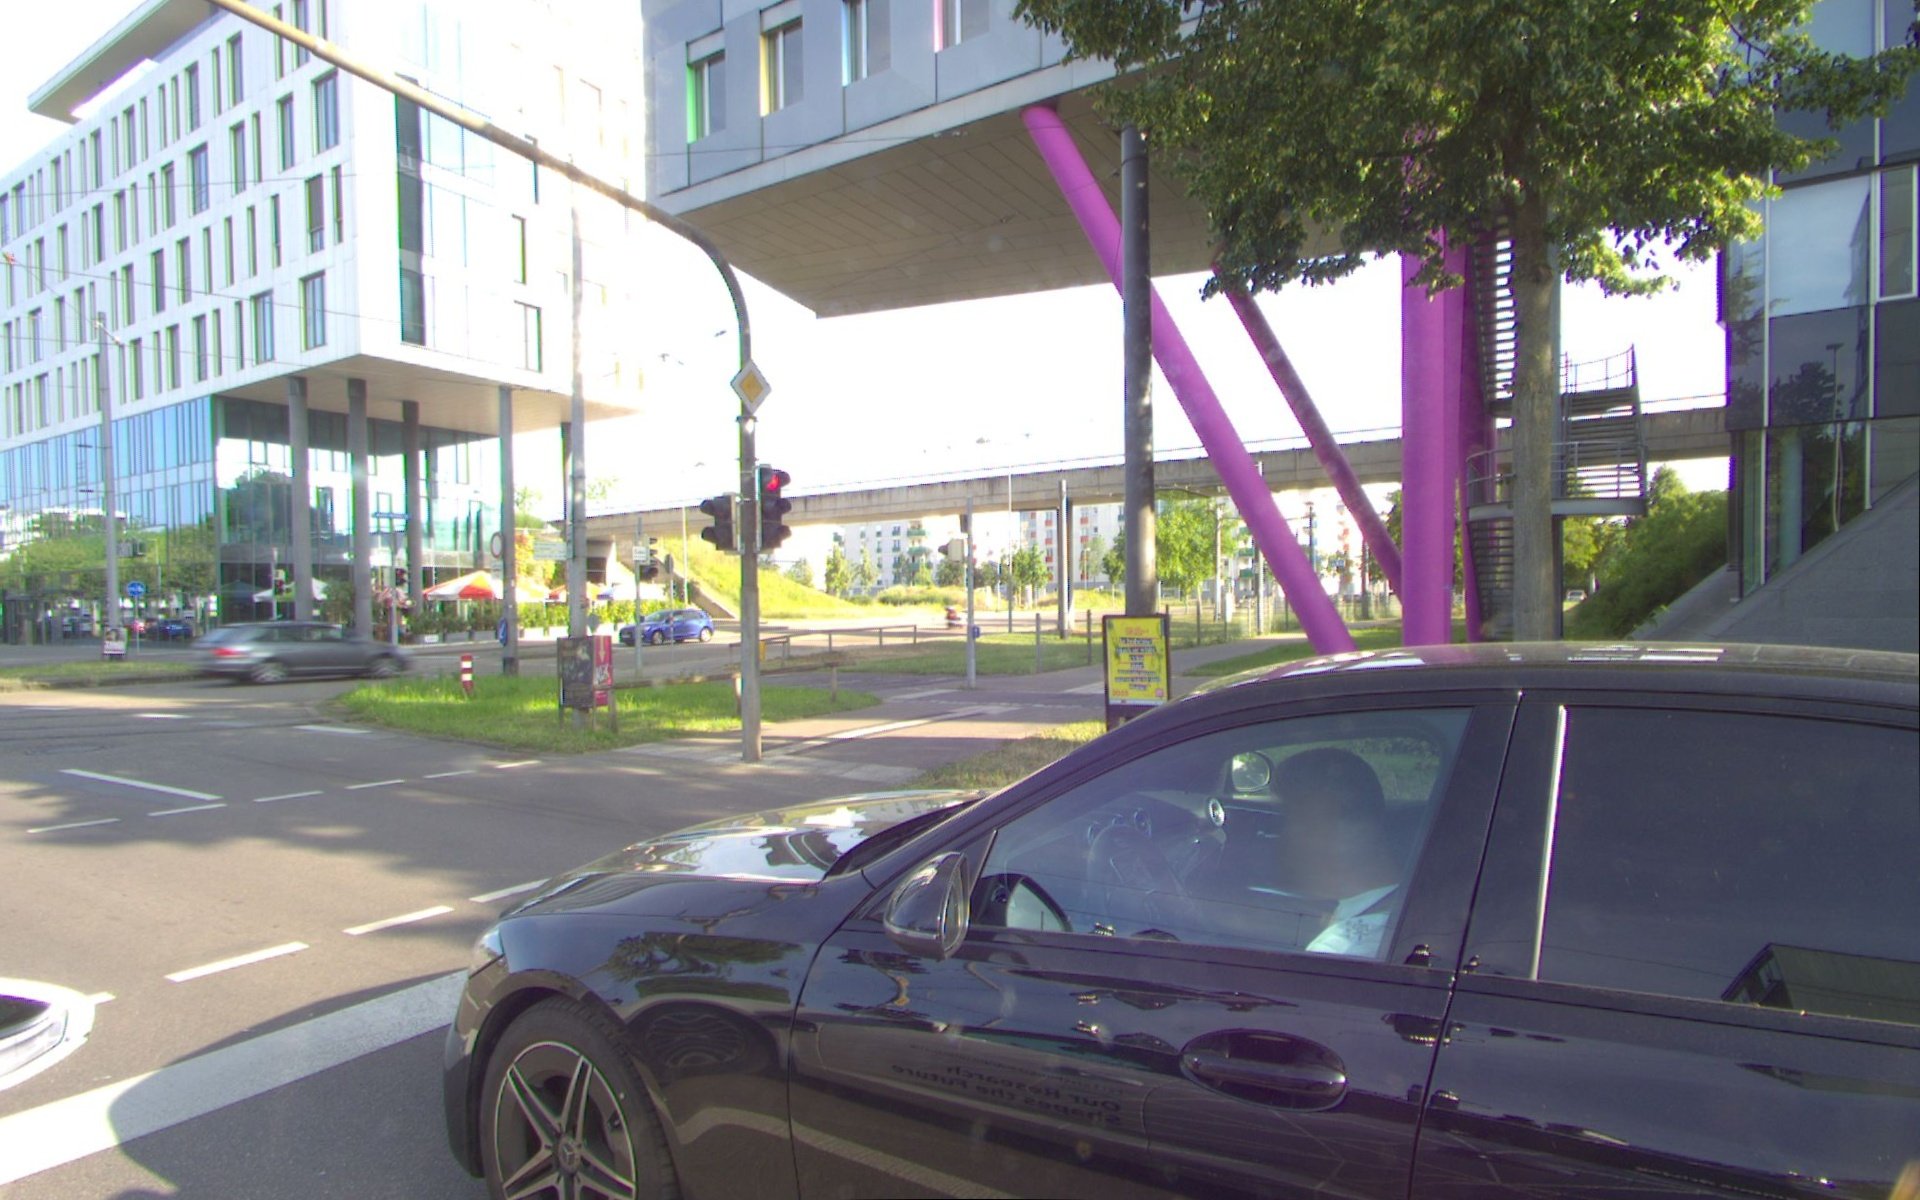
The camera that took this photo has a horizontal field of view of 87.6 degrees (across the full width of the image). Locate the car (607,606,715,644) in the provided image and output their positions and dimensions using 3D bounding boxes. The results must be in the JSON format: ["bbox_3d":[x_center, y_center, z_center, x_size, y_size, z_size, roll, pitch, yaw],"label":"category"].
[{"bbox_3d":[-12.457,0.994,41.951,1.832,1.443,4.176,0,1,31],"label":"car"}]

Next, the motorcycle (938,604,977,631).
[{"bbox_3d":[-0.118,0.930,53.636,0.809,1.280,2.534,0,2,32],"label":"motorcycle"}]

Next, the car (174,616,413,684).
[{"bbox_3d":[-15.994,1.150,24.274,1.712,1.480,4.546,-1,-2,36],"label":"car"}]

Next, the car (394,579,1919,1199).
[{"bbox_3d":[0.865,0.731,2.135,4.493,1.469,1.834,0,-1,34],"label":"car"}]

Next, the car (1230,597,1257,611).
[{"bbox_3d":[29.964,0.461,105.869,1.823,1.443,4.197,-1,0,2],"label":"car"}]

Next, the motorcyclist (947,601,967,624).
[{"bbox_3d":[-0.161,0.665,53.586,0.773,1.218,0.843,0,-1,31],"label":"motorcyclist"}]
